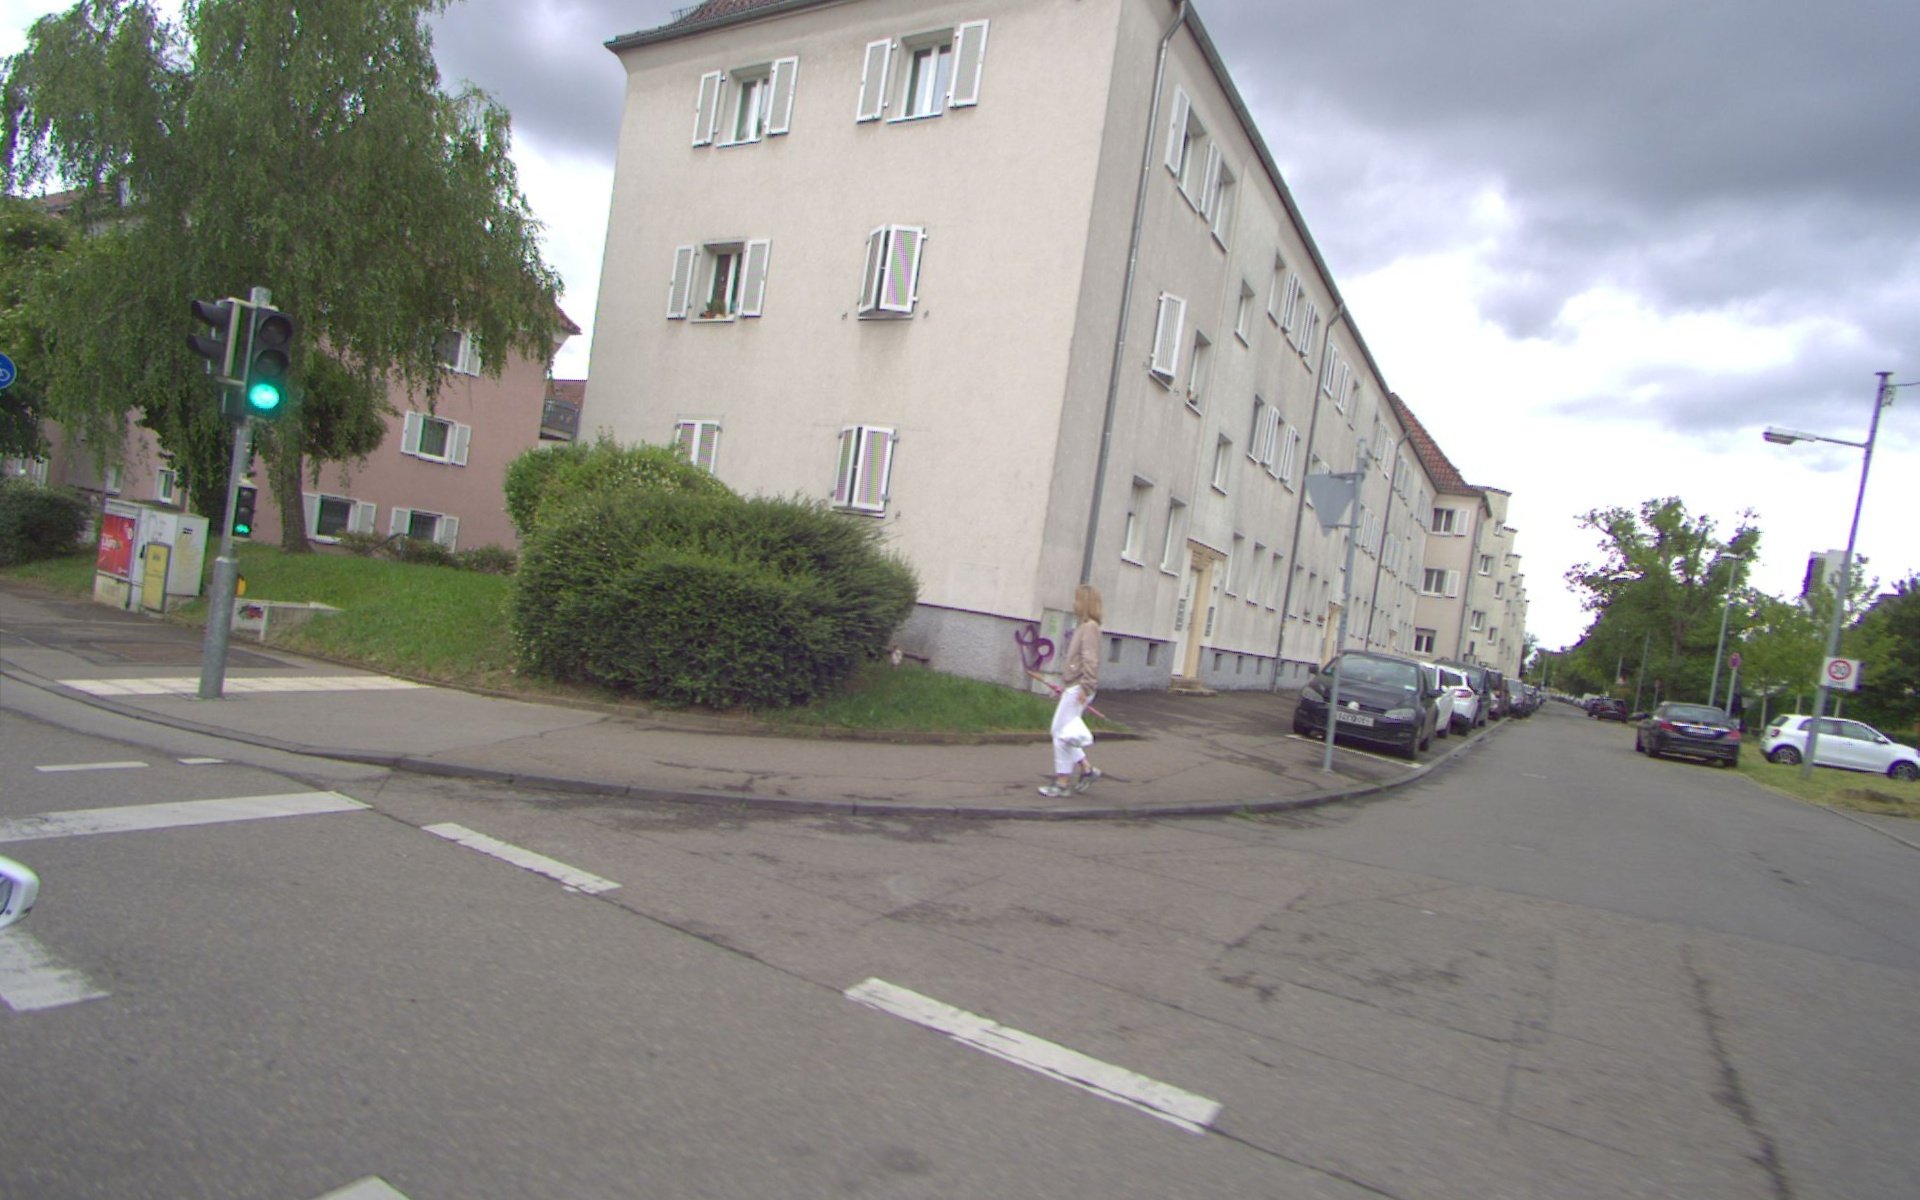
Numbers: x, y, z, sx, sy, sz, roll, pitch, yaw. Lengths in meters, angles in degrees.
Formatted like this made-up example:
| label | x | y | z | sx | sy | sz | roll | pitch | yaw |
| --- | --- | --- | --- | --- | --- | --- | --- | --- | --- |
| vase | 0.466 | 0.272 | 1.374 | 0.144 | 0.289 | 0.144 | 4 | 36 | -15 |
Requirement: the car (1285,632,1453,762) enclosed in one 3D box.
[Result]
| label | x | y | z | sx | sy | sz | roll | pitch | yaw |
| --- | --- | --- | --- | --- | --- | --- | --- | --- | --- |
| car | 6.537 | 1.527 | 15.827 | 1.695 | 1.472 | 3.881 | 12 | 1 | 31 |

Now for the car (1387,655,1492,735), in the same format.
| label | x | y | z | sx | sy | sz | roll | pitch | yaw |
| --- | --- | --- | --- | --- | --- | --- | --- | --- | --- |
| car | 11.670 | 2.321 | 24.354 | 1.713 | 1.478 | 3.995 | 10 | 0 | 32 |

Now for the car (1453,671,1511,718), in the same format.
| label | x | y | z | sx | sy | sz | roll | pitch | yaw |
| --- | --- | --- | --- | --- | --- | --- | --- | --- | --- |
| car | 20.930 | 3.807 | 40.278 | 1.713 | 1.477 | 3.996 | 10 | 0 | 30 |

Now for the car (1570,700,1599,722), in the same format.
| label | x | y | z | sx | sy | sz | roll | pitch | yaw |
| --- | --- | --- | --- | --- | --- | --- | --- | --- | --- |
| car | 51.278 | 9.098 | 82.644 | 1.713 | 1.477 | 3.996 | 10 | 0 | 30 |

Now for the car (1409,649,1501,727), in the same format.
| label | x | y | z | sx | sy | sz | roll | pitch | yaw |
| --- | --- | --- | --- | --- | --- | --- | --- | --- | --- |
| car | 14.270 | 2.571 | 28.896 | 1.714 | 1.807 | 3.993 | 10 | 0 | 33 |

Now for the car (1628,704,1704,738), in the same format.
| label | x | y | z | sx | sy | sz | roll | pitch | yaw |
| --- | --- | --- | --- | --- | --- | --- | --- | --- | --- |
| car | 43.685 | 7.493 | 62.345 | 3.627 | 1.551 | 1.581 | 6 | -2 | 34 |

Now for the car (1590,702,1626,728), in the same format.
| label | x | y | z | sx | sy | sz | roll | pitch | yaw |
| --- | --- | --- | --- | --- | --- | --- | --- | --- | --- |
| car | 45.876 | 8.144 | 71.294 | 1.713 | 1.477 | 3.996 | 10 | 0 | 30 |

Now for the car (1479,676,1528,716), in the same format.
| label | x | y | z | sx | sy | sz | roll | pitch | yaw |
| --- | --- | --- | --- | --- | --- | --- | --- | --- | --- |
| car | 25.354 | 4.494 | 46.887 | 1.713 | 1.477 | 3.996 | 10 | 0 | 30 |

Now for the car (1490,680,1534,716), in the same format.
| label | x | y | z | sx | sy | sz | roll | pitch | yaw |
| --- | --- | --- | --- | --- | --- | --- | --- | --- | --- |
| car | 28.423 | 5.046 | 51.770 | 1.713 | 1.477 | 3.996 | 10 | 0 | 30 |

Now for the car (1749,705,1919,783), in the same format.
| label | x | y | z | sx | sy | sz | roll | pitch | yaw |
| --- | --- | --- | --- | --- | --- | --- | --- | --- | --- |
| car | 24.436 | 3.974 | 28.014 | 3.627 | 1.551 | 1.581 | 6 | -2 | 34 |

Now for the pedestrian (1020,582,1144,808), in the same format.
| label | x | y | z | sx | sy | sz | roll | pitch | yaw |
| --- | --- | --- | --- | --- | --- | --- | --- | --- | --- |
| pedestrian | 1.000 | 0.752 | 8.216 | 0.565 | 1.707 | 0.657 | 9 | 3 | 32 |

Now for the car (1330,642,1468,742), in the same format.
| label | x | y | z | sx | sy | sz | roll | pitch | yaw |
| --- | --- | --- | --- | --- | --- | --- | --- | --- | --- |
| car | 8.882 | 1.879 | 20.170 | 1.714 | 1.539 | 3.993 | 10 | 0 | 33 |

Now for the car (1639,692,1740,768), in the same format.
| label | x | y | z | sx | sy | sz | roll | pitch | yaw |
| --- | --- | --- | --- | --- | --- | --- | --- | --- | --- |
| car | 18.246 | 3.230 | 25.293 | 1.612 | 1.551 | 3.681 | 6 | -2 | 32 |
